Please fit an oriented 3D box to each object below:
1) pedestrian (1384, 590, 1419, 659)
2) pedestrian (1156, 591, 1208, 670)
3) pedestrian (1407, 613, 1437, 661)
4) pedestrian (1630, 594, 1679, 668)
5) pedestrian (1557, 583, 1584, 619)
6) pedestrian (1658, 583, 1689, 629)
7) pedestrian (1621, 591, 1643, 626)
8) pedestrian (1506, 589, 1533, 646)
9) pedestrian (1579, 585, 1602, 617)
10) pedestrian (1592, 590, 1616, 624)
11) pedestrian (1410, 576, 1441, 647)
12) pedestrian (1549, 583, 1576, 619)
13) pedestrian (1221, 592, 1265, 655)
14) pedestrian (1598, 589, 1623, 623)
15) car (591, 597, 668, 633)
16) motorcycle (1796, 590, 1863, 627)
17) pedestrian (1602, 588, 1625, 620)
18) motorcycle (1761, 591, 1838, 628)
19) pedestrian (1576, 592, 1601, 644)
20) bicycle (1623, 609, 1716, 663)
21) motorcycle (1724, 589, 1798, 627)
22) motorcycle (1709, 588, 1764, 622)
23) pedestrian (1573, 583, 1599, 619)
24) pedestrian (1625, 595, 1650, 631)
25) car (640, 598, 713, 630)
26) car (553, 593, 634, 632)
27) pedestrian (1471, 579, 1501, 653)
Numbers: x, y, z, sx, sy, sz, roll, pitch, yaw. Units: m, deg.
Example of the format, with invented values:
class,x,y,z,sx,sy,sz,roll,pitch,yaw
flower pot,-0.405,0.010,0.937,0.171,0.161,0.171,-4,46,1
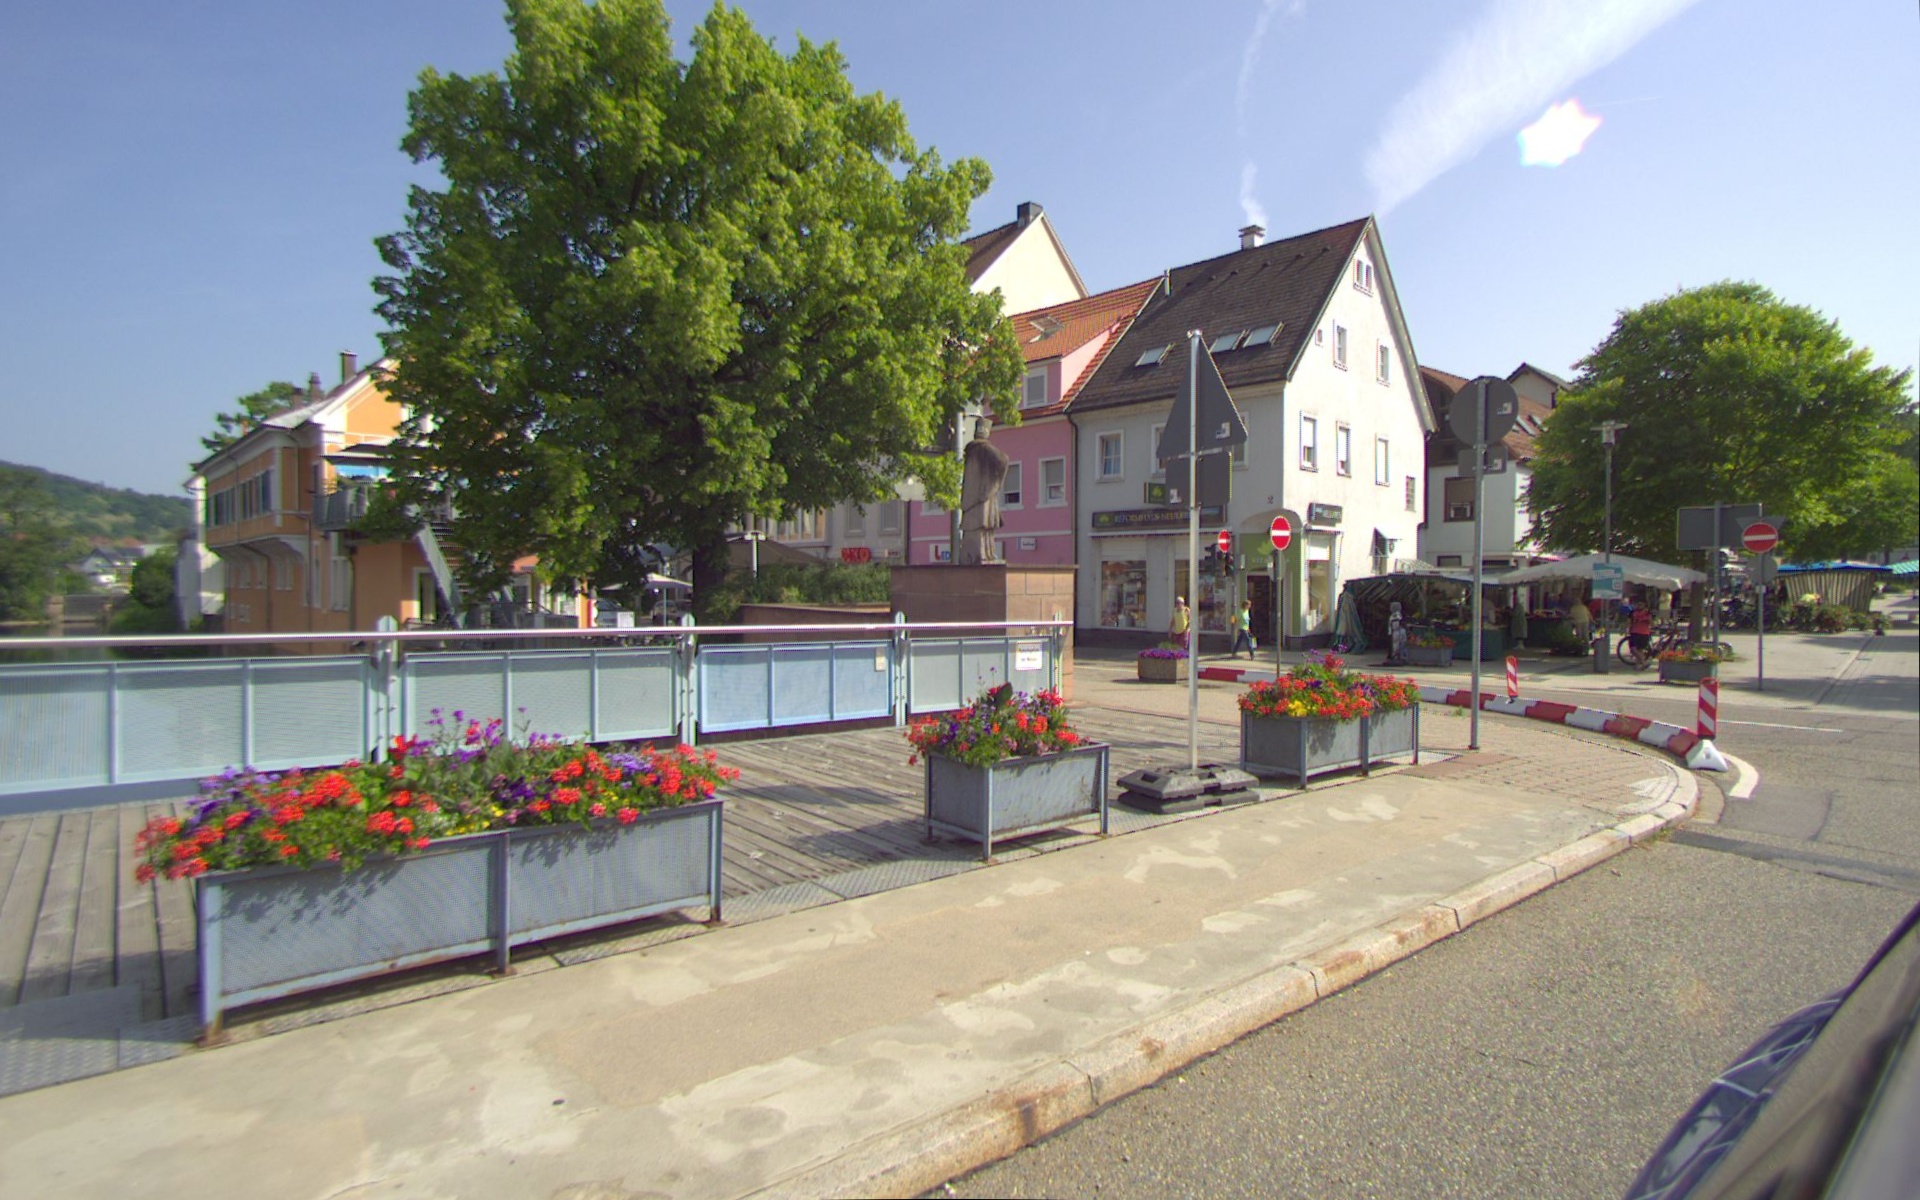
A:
class,x,y,z,sx,sy,sz,roll,pitch,yaw
pedestrian,11.460,0.619,26.287,0.778,1.745,0.702,1,0,21
pedestrian,5.605,0.749,25.509,0.901,1.836,1.009,-1,5,35
pedestrian,11.683,0.926,25.592,0.614,1.175,0.513,1,1,19
pedestrian,16.623,0.725,24.243,0.877,1.678,0.565,3,3,33
pedestrian,23.771,0.040,39.407,0.687,1.347,0.626,-1,4,-38
pedestrian,25.264,0.200,35.853,0.561,1.572,0.700,-1,4,-35
pedestrian,24.445,0.316,36.827,0.569,1.215,0.642,3,4,38
pedestrian,16.563,0.499,29.952,0.520,1.647,0.696,1,1,44
pedestrian,25.298,0.040,40.586,0.639,1.215,0.571,-1,4,-41
pedestrian,24.191,0.246,38.019,0.639,1.215,0.571,-1,4,-41
pedestrian,13.328,0.327,29.005,0.697,1.995,0.506,1,0,13
pedestrian,23.091,0.033,38.801,0.687,1.347,0.626,-1,4,-38
pedestrian,7.826,0.637,27.945,0.775,1.652,0.858,-3,3,-40
pedestrian,24.806,0.226,38.589,0.639,1.215,0.571,-1,4,-41
car,-16.013,0.686,48.911,1.796,1.585,4.488,-3,2,-44
motorcycle,31.569,0.293,36.780,0.631,1.210,2.007,2,3,0
pedestrian,25.919,0.138,40.115,0.639,1.215,0.571,-1,4,-41
motorcycle,30.440,0.321,36.719,0.630,1.210,2.009,0,3,-28
pedestrian,18.810,0.531,30.297,0.617,1.537,0.626,1,1,33
bicycle,17.513,0.865,25.014,1.851,1.250,0.609,1,1,36
motorcycle,29.350,0.279,37.106,0.630,1.210,2.009,-1,4,-28
motorcycle,29.516,0.176,38.491,0.632,1.210,1.531,-1,4,-41
pedestrian,24.686,0.024,39.884,0.687,1.347,0.626,-1,4,-38
pedestrian,24.006,0.444,35.852,0.695,1.215,0.565,3,4,35
car,-14.296,0.660,50.853,1.778,1.488,4.446,-1,1,-42
car,-16.338,0.500,44.985,1.722,1.617,4.583,-1,1,-44
pedestrian,14.525,0.430,27.933,0.700,2.010,0.646,1,0,28
